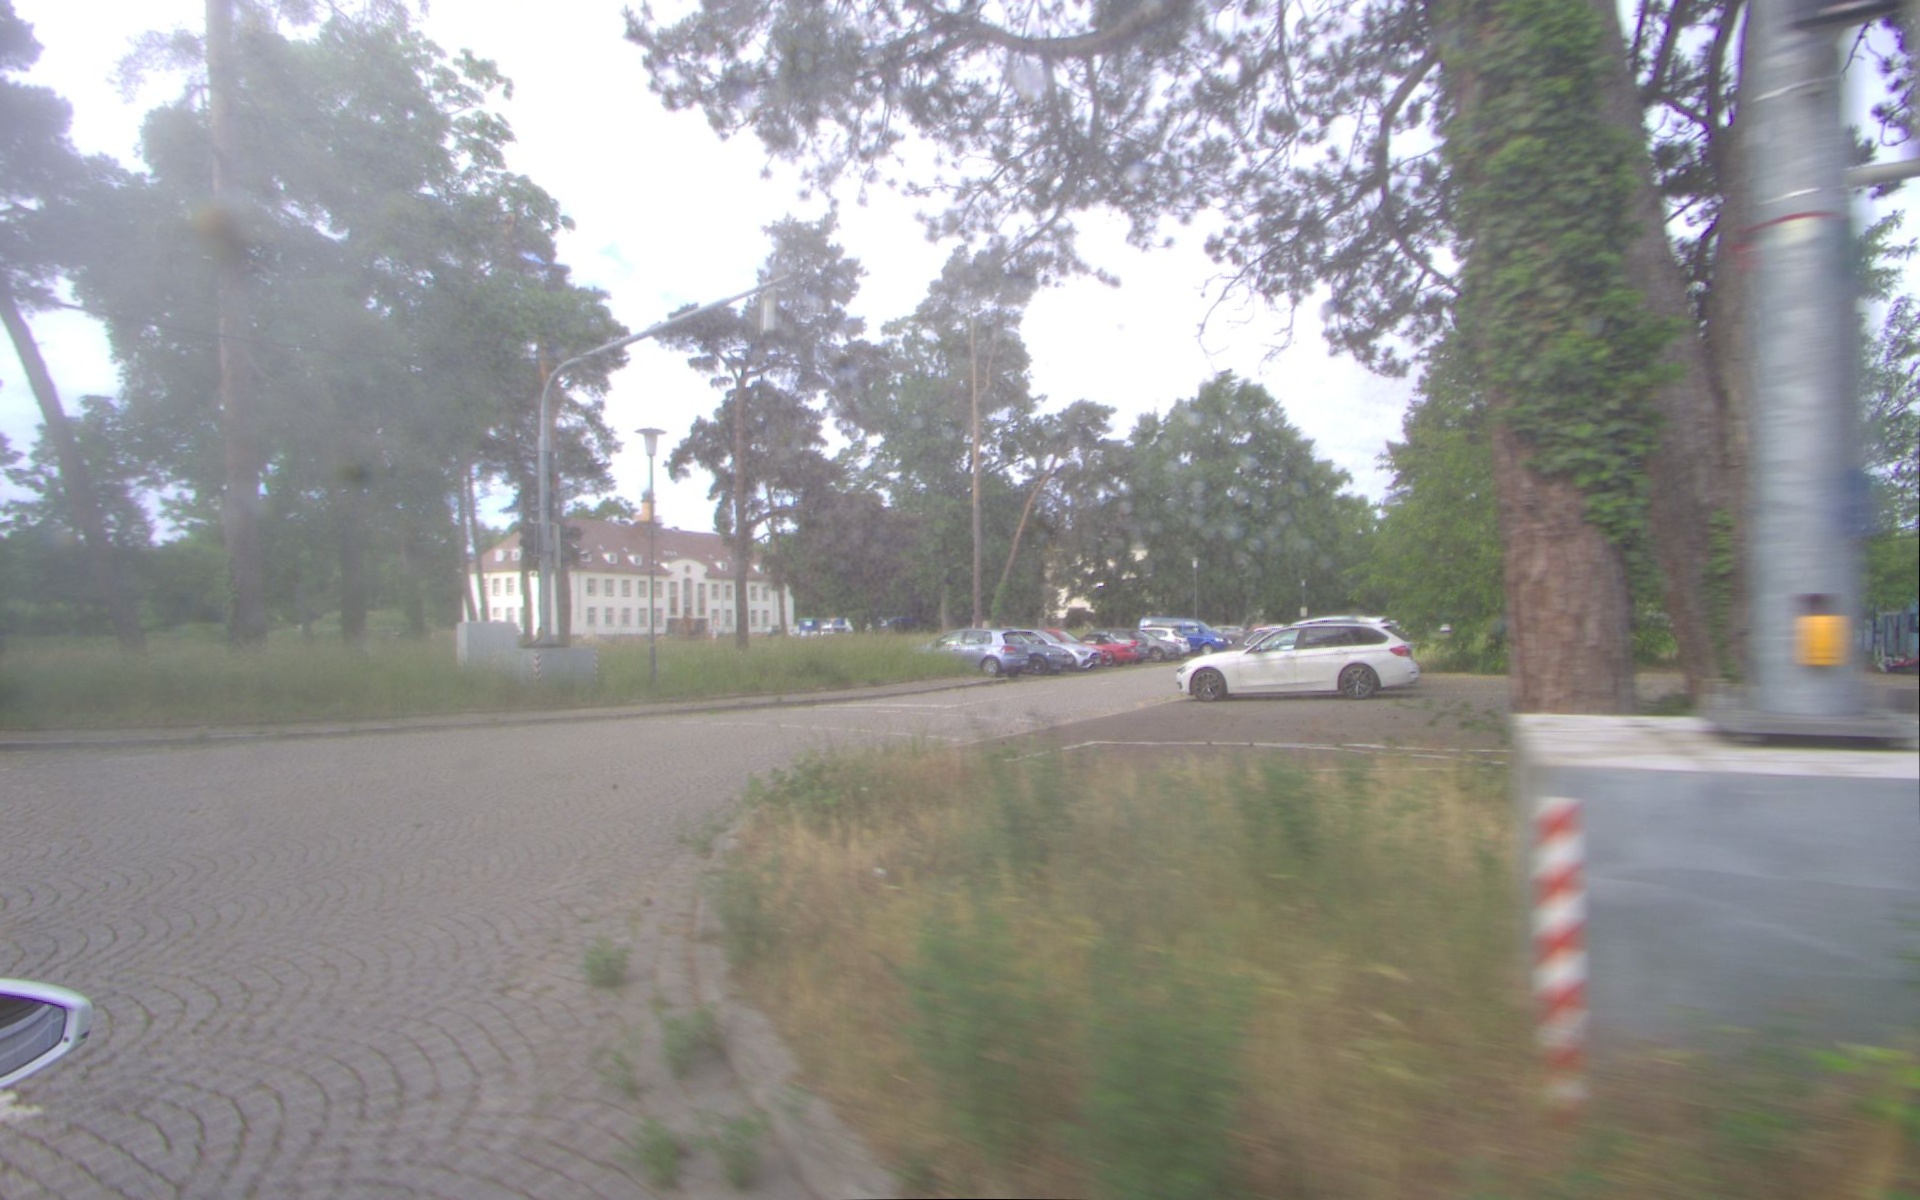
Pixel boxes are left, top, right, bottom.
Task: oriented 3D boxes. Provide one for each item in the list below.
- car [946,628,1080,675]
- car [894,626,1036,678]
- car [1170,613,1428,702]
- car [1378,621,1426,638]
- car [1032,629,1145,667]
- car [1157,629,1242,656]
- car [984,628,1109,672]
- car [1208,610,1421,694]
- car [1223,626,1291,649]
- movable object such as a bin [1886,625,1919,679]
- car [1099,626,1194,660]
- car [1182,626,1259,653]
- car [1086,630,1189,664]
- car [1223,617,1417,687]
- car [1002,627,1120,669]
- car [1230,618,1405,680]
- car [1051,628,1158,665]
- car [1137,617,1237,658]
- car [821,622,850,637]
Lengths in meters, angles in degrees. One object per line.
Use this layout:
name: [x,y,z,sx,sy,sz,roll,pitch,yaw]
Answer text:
car: [1.747,1.683,33.449,4.180,1.486,1.732,-1,-2,30]
car: [0.132,1.593,31.338,4.180,1.528,1.732,-1,-2,30]
car: [6.610,1.159,19.585,4.538,1.504,1.849,-4,-4,26]
car: [54.223,3.642,122.886,5.218,1.979,2.082,-1,-3,30]
car: [5.127,1.892,40.104,4.186,1.408,1.730,-1,-2,35]
car: [12.980,2.262,54.279,4.181,1.408,1.732,-1,-2,31]
car: [3.068,1.750,35.872,4.186,1.486,1.730,-1,-2,35]
car: [7.766,1.153,21.968,4.177,1.625,1.782,-4,-2,26]
car: [20.420,2.558,68.898,4.179,1.541,1.732,-1,-1,29]
movable object such as a bin: [21.714,1.132,21.703,2.175,1.148,0.961,-1,-3,20]
car: [8.823,2.016,47.549,4.186,1.521,1.612,-1,-2,35]
car: [15.597,2.362,59.884,4.179,1.541,1.732,-1,-1,29]
car: [7.913,2.066,44.756,4.186,1.408,1.730,-1,-2,35]
car: [8.757,1.284,24.426,4.182,1.504,1.699,-4,-3,30]
car: [3.827,1.787,38.167,4.186,1.486,1.730,-1,-2,35]
car: [9.639,1.334,27.072,4.182,1.504,1.699,-4,-3,30]
car: [6.118,1.963,42.555,4.186,1.491,1.730,-1,-2,35]
car: [11.808,1.918,52.130,4.720,2.052,2.134,-1,-1,31]
car: [-16.461,3.912,132.242,1.898,1.928,4.062,-1,-3,26]
